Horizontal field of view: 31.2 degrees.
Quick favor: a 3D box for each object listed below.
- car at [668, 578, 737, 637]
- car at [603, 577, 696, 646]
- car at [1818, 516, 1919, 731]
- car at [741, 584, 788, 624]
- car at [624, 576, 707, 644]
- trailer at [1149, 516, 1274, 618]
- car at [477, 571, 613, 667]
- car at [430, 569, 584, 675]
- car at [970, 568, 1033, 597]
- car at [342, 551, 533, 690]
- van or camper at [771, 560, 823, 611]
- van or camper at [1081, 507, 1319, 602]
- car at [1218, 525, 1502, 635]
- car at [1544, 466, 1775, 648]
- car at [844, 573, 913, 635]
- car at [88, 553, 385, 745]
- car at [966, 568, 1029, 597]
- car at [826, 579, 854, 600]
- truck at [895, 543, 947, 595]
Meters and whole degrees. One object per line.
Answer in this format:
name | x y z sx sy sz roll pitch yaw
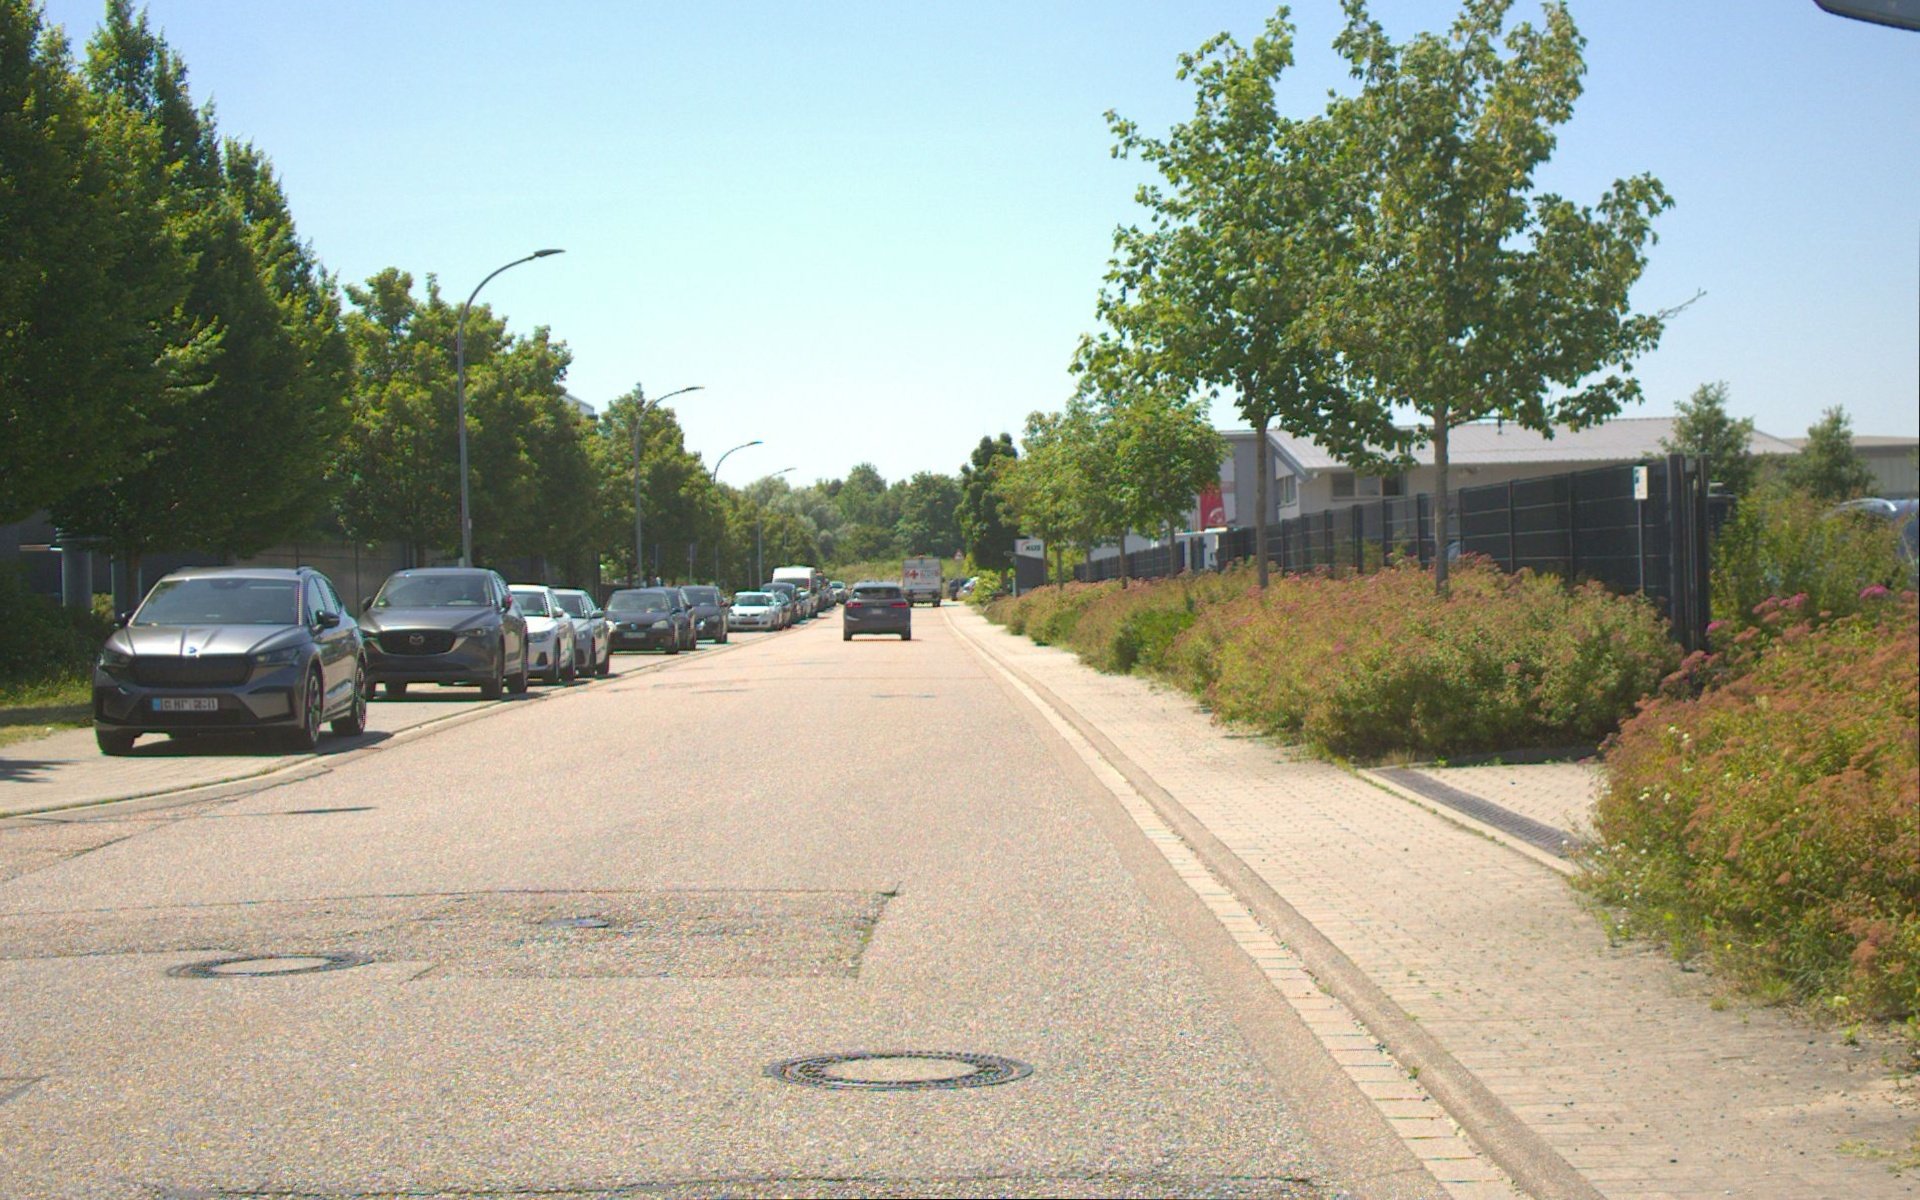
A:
car | -7.263 0.209 97.293 1.770 1.606 4.248 0 0 -2
car | -7.083 0.242 78.682 1.771 1.426 4.201 -1 1 -1
car | 7.972 0.134 26.349 1.809 1.547 3.577 -2 2 -1
car | -7.323 0.152 128.895 1.720 1.471 3.858 0 0 -3
car | -7.207 0.230 84.428 1.770 1.606 4.852 0 0 -2
trailer | 6.242 -0.820 85.545 2.822 2.395 1.420 -3 0 -4
car | -6.740 0.284 56.175 1.771 1.426 3.940 -1 1 -1
car | -6.730 0.292 51.433 1.771 1.426 4.201 -1 1 -1
car | 2.597 -1.094 216.442 3.875 1.744 1.752 1 0 -3
car | -6.628 0.216 44.020 1.771 1.618 4.583 -1 1 -1
van or camper | -8.091 -0.716 171.379 2.078 2.474 6.130 1 0 2
van or camper | 7.062 -1.345 101.893 6.757 2.576 2.636 -2 0 -1
car | 7.634 -0.382 65.932 5.113 1.867 1.903 -3 0 -1
car | 8.664 -0.530 42.923 1.876 2.079 4.226 -3 0 -1
car | -2.167 0.096 92.505 1.789 1.618 3.809 1 0 -1
car | -6.445 0.405 31.092 1.771 1.582 4.481 -1 0 -1
car | 2.381 -1.102 219.152 3.875 1.744 1.752 1 0 -3
car | -8.623 -0.775 247.902 1.799 1.482 4.252 0 1 1
truck | -2.270 -1.782 201.381 2.933 2.964 6.419 1 0 0
